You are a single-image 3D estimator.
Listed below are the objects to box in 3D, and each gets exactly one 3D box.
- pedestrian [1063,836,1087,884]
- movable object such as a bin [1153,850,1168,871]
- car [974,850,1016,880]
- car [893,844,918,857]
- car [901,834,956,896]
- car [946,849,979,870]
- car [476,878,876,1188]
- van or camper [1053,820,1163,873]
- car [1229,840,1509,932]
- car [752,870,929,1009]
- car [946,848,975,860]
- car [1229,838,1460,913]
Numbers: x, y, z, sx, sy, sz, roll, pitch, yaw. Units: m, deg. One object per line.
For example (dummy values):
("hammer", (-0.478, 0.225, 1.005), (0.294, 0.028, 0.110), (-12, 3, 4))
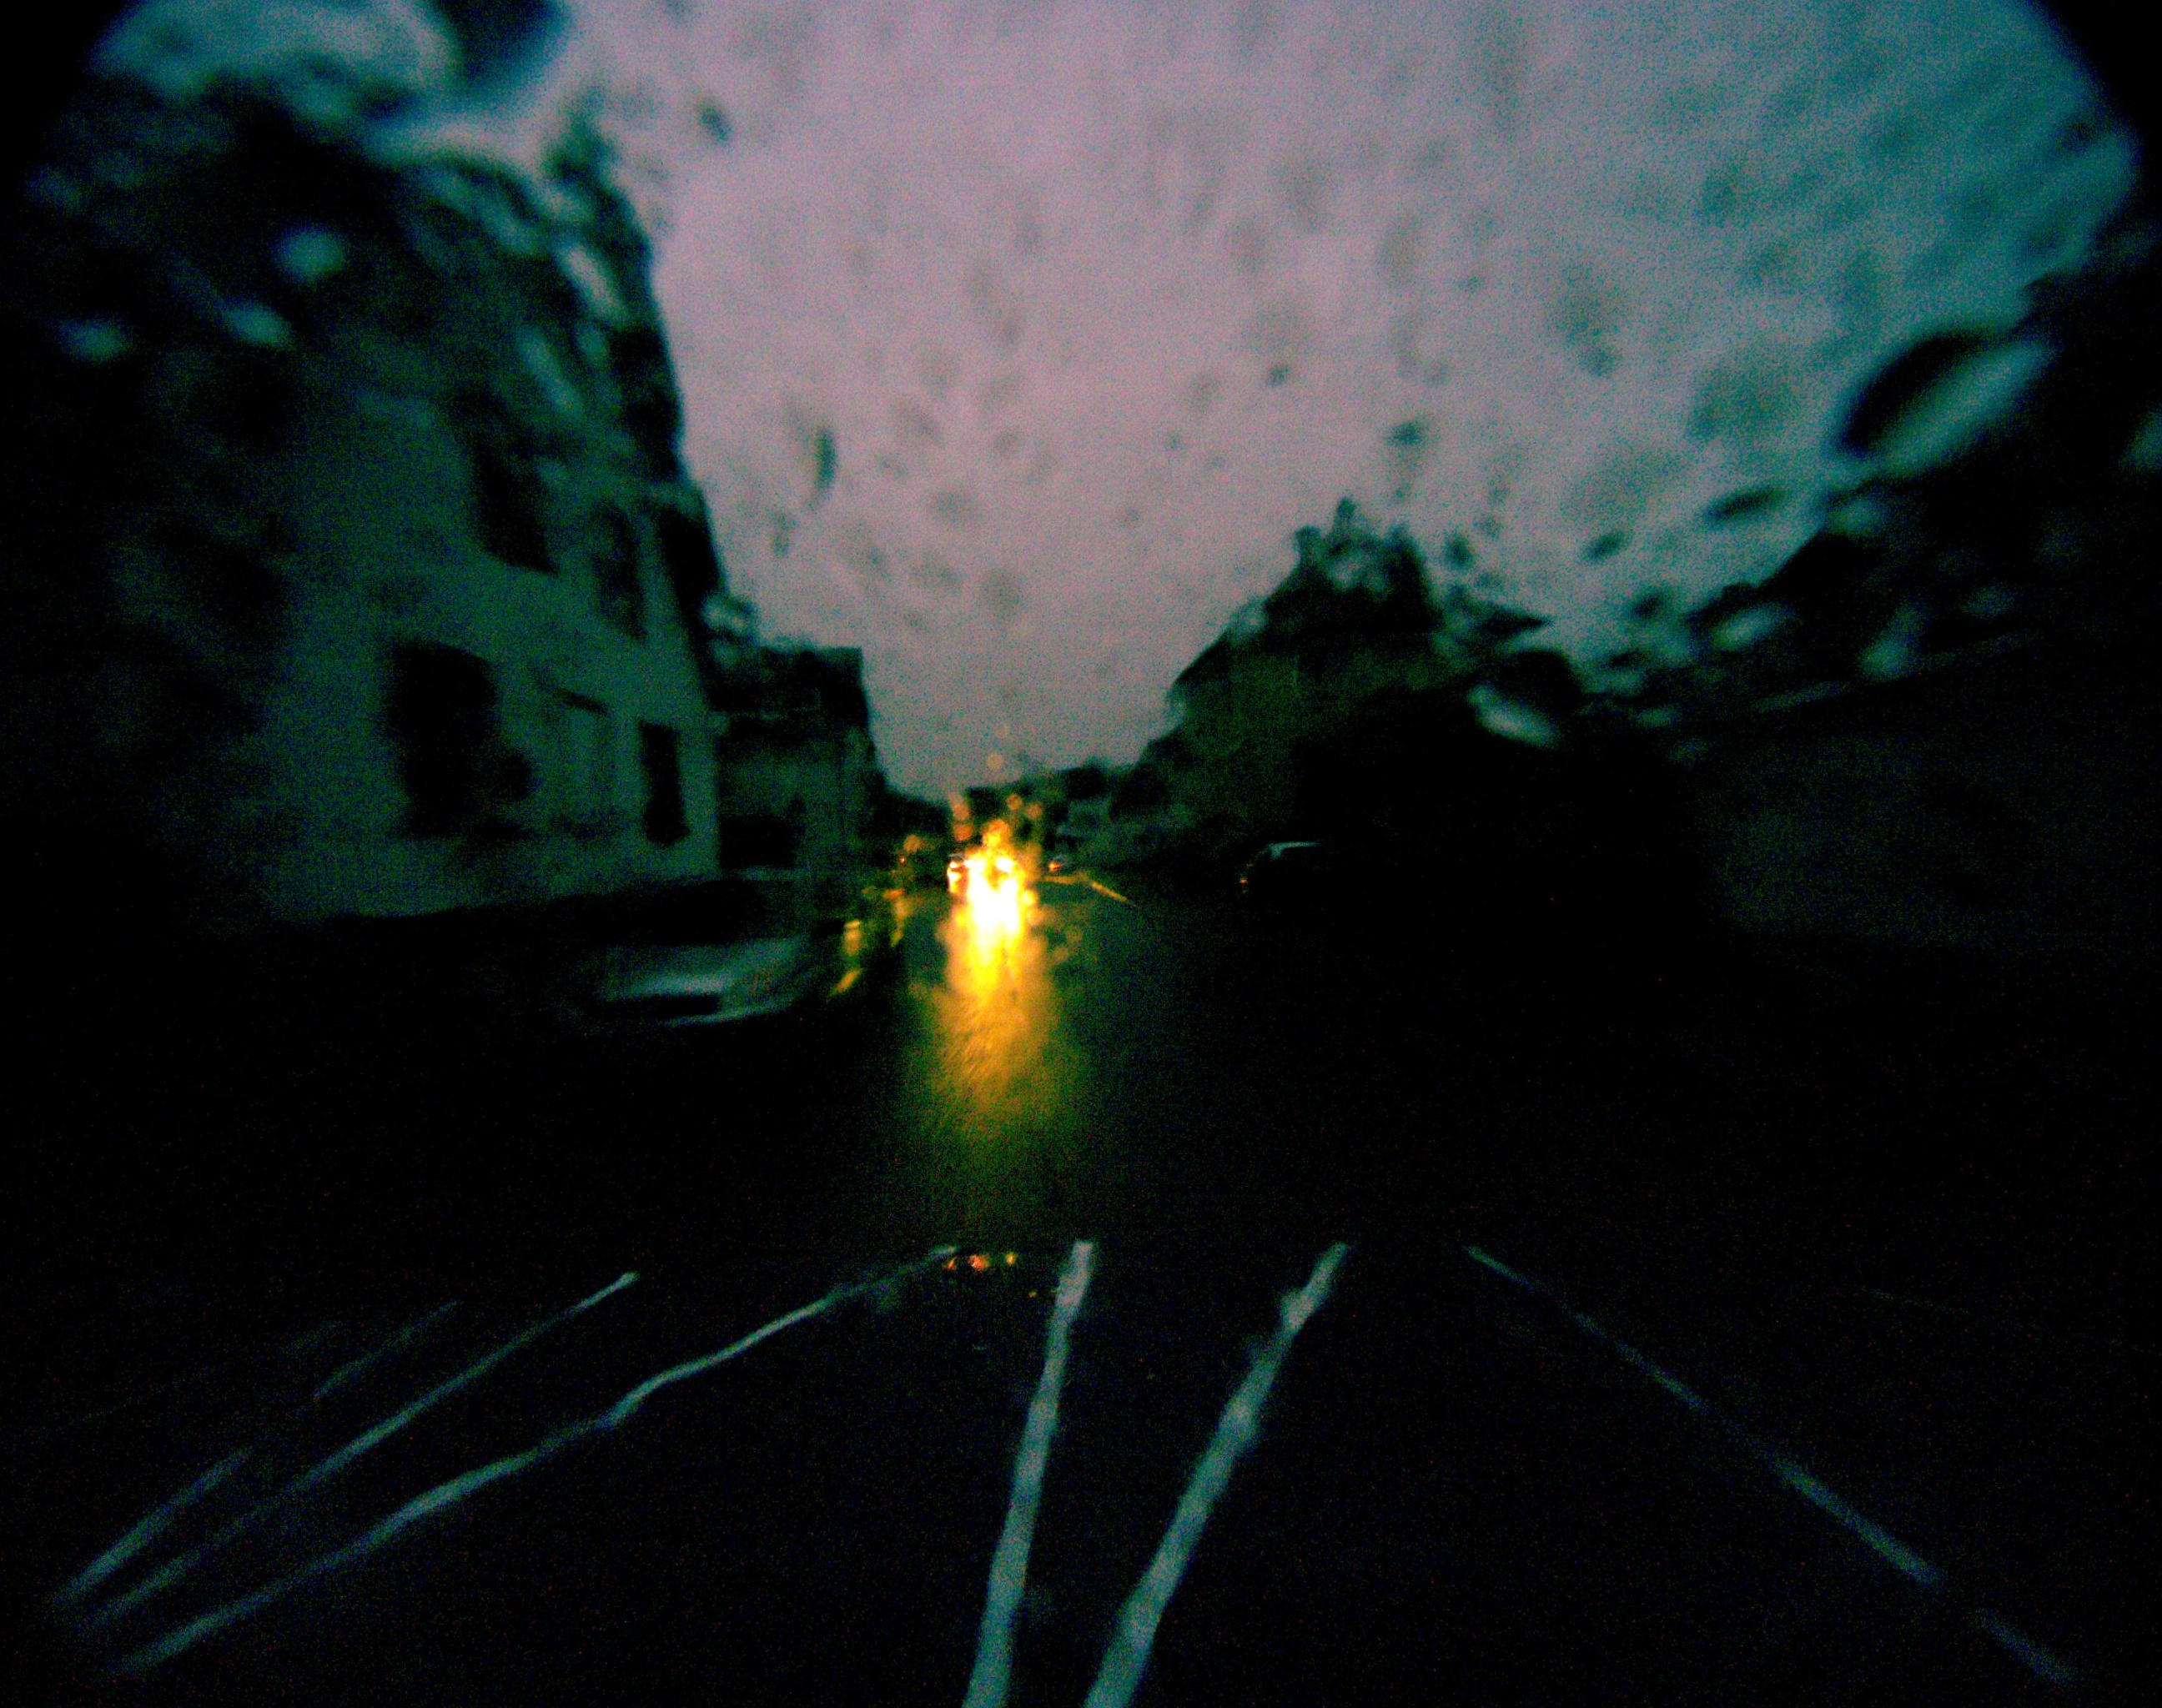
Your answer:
("pedestrian", (-0.260, 0.256, 32.724), (0.786, 2.002, 0.868), (-4, 2, -7))
("movable object such as a bin", (4.052, 0.341, 38.927), (0.618, 1.015, 0.580), (-3, 1, -3))
("car", (-5.091, 0.618, 44.690), (1.993, 1.549, 4.231), (-3, 1, -12))
("car", (-27.183, -0.569, 117.559), (1.856, 1.873, 4.873), (-4, 1, -39))
("car", (-6.746, 0.440, 34.160), (2.015, 2.440, 5.609), (-4, 1, -9))
("car", (-9.679, 0.425, 61.903), (1.993, 1.549, 4.229), (-4, 1, -17))
("car", (-2.841, 1.077, 6.374), (1.643, 1.485, 3.996), (-4, 1, -9))
("van or camper", (1.521, -0.442, 44.056), (6.078, 2.925, 2.321), (-1, 1, -8))
("car", (5.397, 0.541, 14.595), (4.607, 1.462, 1.999), (-2, 1, -6))
("car", (-3.334, 1.085, 11.317), (1.643, 1.463, 3.997), (-4, 1, -6))
("car", (-18.515, -0.025, 116.843), (3.997, 1.652, 1.755), (-3, 1, -1))
("car", (5.927, 0.449, 17.457), (4.615, 1.462, 1.891), (-2, 1, -2))
